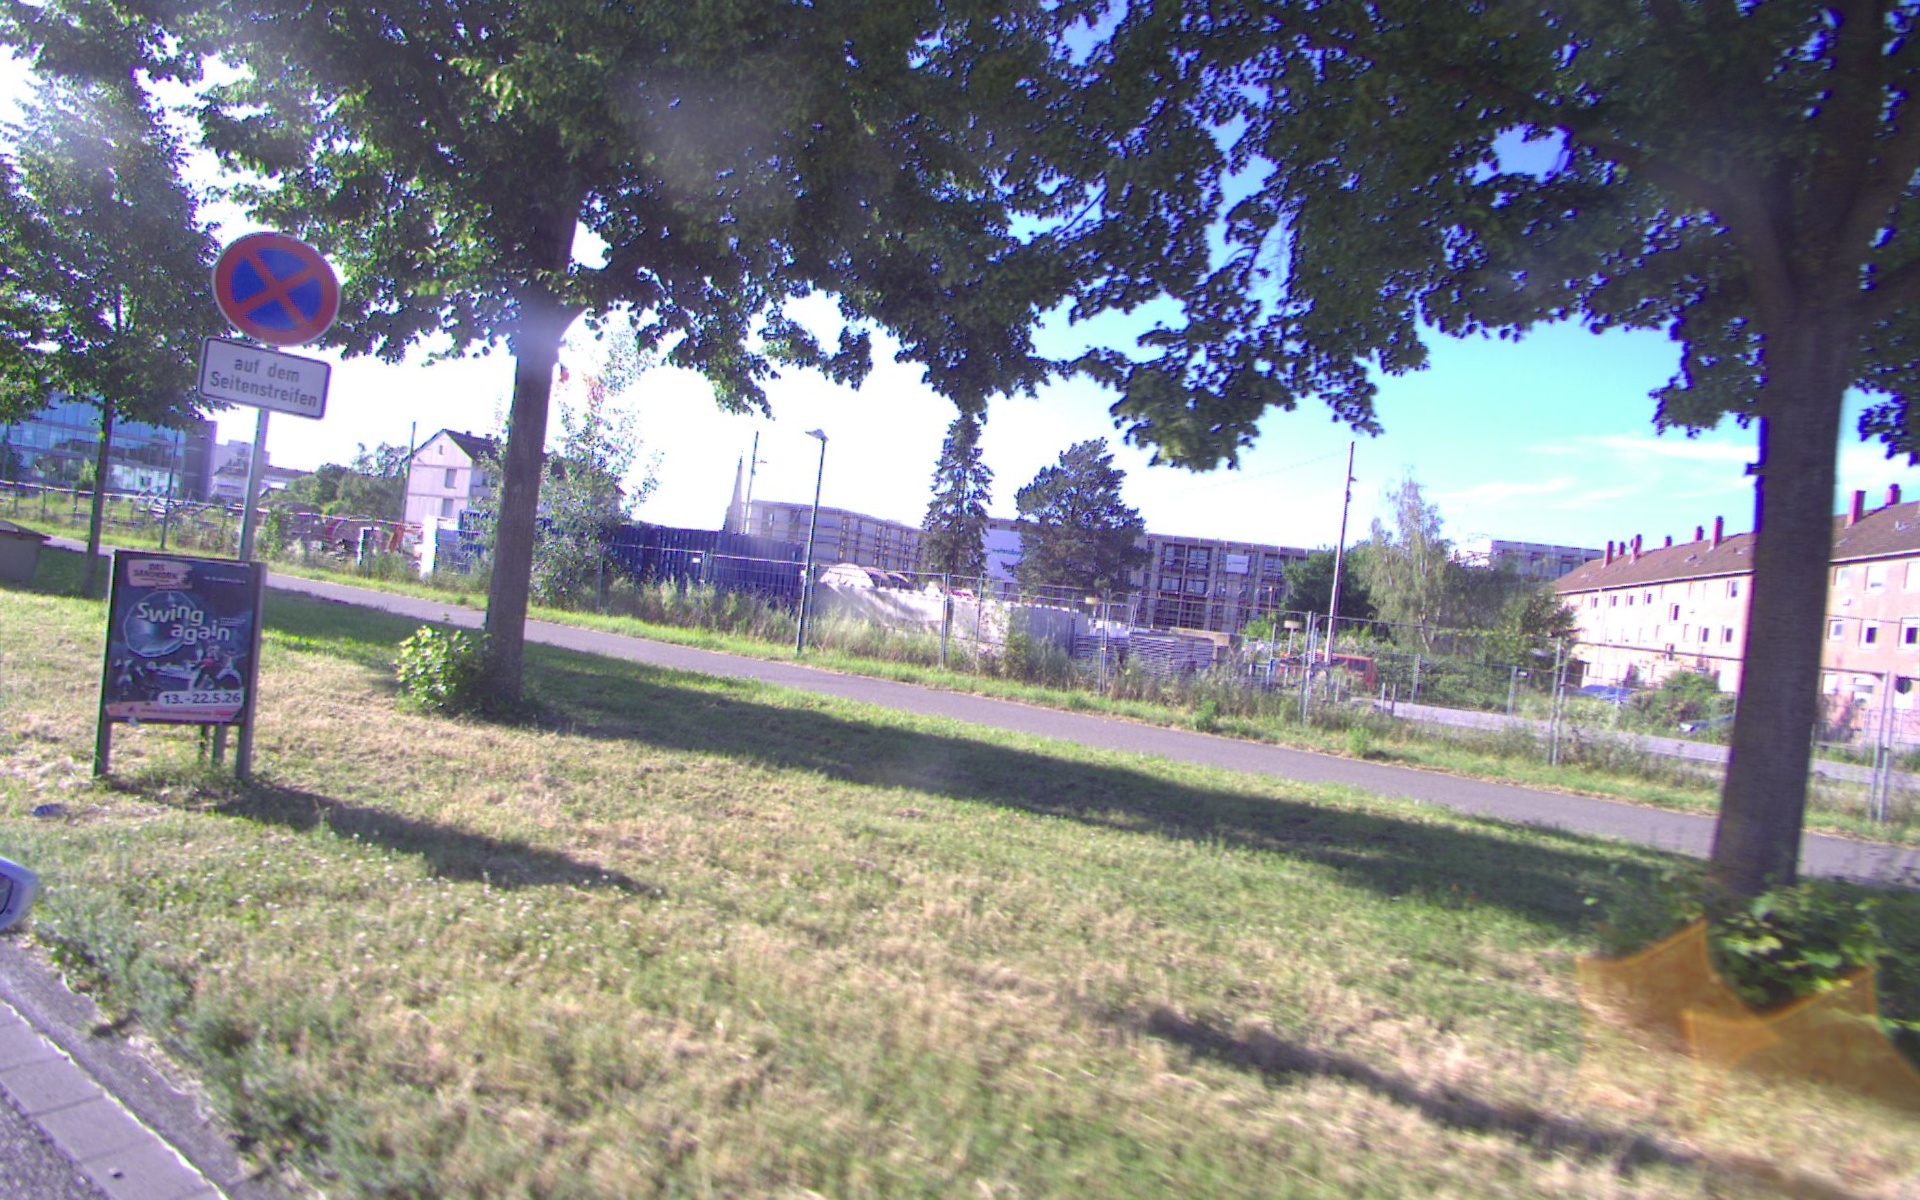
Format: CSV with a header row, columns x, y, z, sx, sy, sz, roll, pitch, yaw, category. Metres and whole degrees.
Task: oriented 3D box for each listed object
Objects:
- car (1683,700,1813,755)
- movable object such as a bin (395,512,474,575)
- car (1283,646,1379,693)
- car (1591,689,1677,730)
x,y,z,sx,sy,sz,roll,pitch,yaw,category
32.133,5.159,41.173,3.844,1.576,1.996,6,-1,32,car
-19.324,-2.078,37.005,1.760,2.038,1.797,5,-1,32,movable object such as a bin
18.201,3.392,49.355,3.934,1.748,2.175,6,0,32,car
37.288,6.028,55.755,3.734,1.652,1.897,6,0,32,car
